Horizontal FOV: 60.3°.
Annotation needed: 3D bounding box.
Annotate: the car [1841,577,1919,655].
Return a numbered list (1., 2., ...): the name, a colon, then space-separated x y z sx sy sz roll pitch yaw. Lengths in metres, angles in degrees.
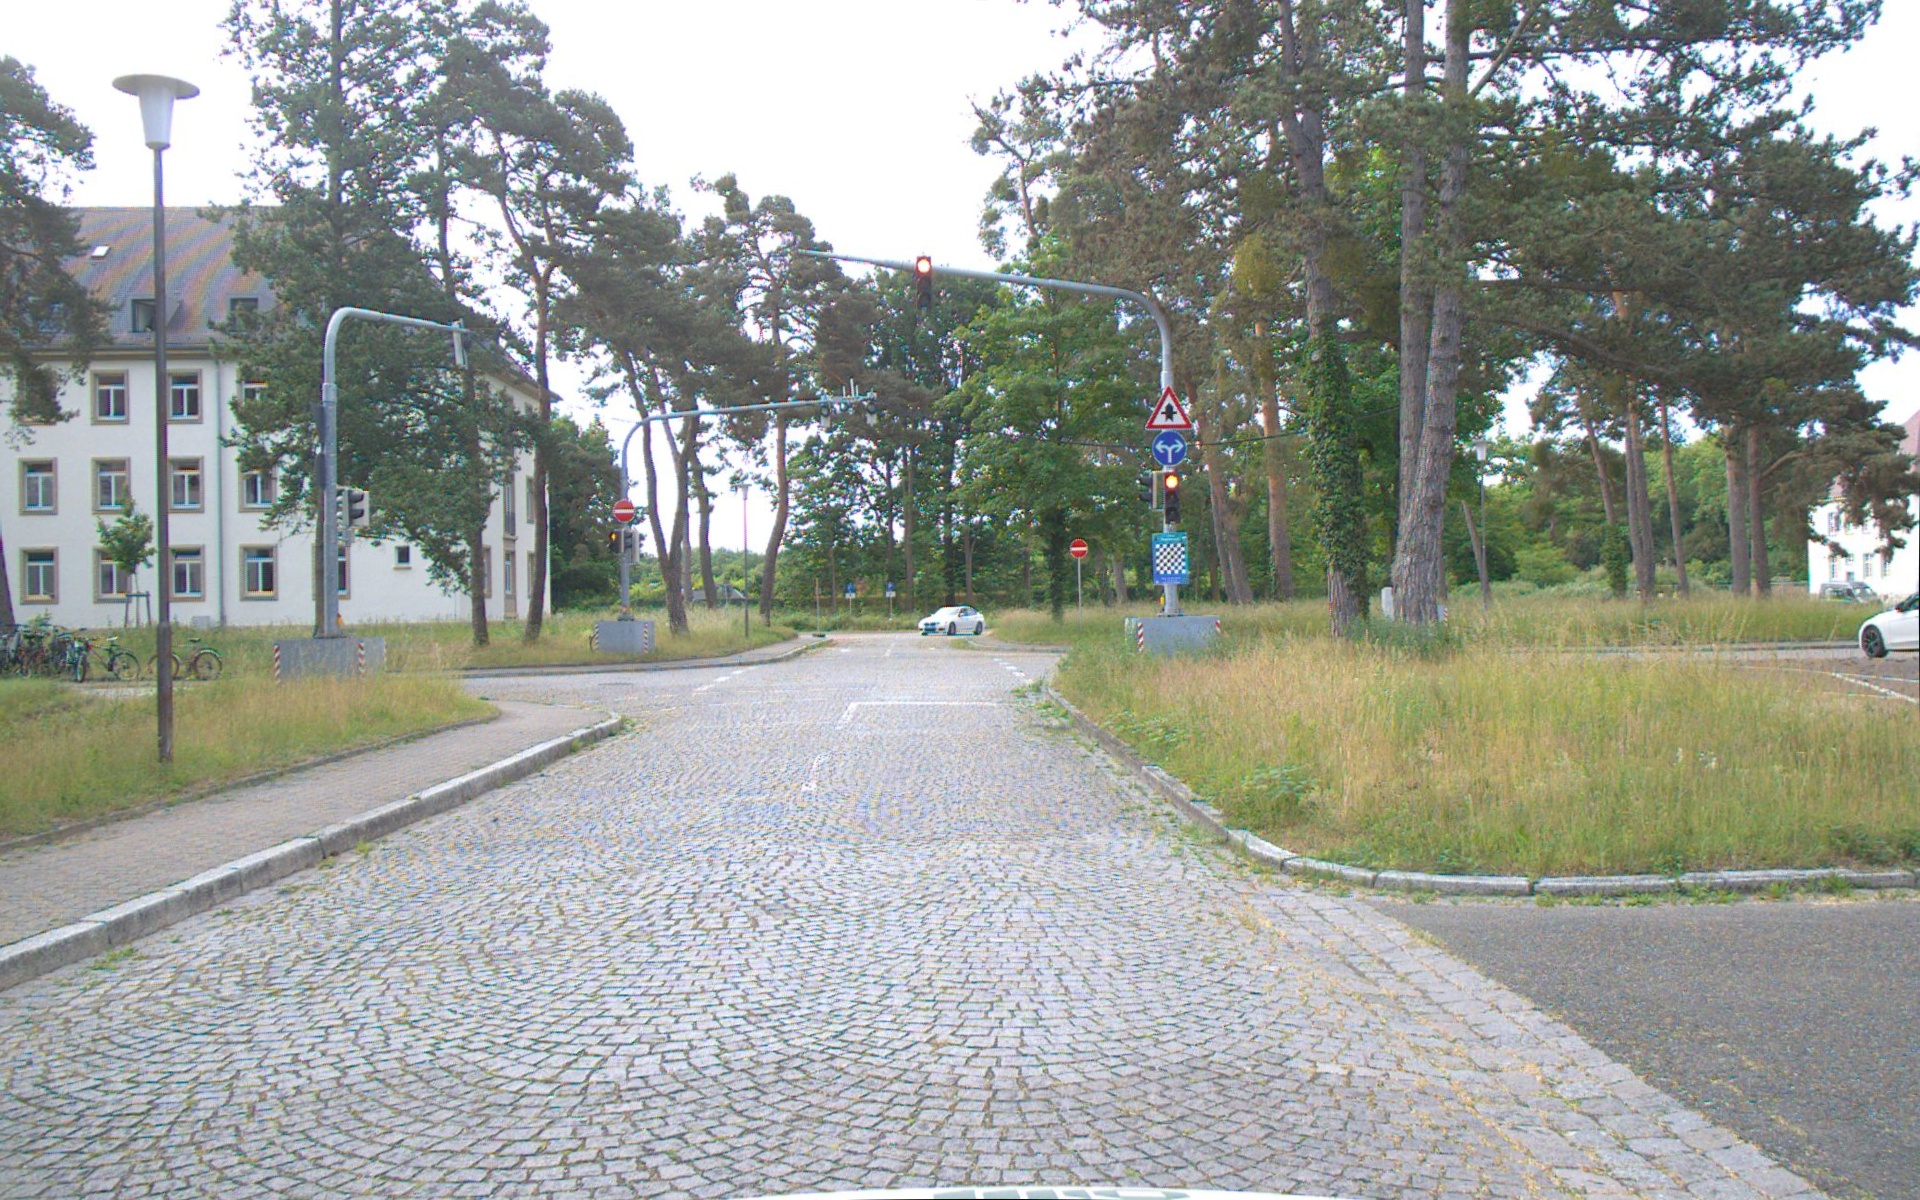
1. car: 19.925 0.313 33.129 1.812 1.513 4.604 0 -3 -4

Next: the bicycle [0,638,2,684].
1. bicycle: -23.263 1.470 38.939 0.504 1.098 1.585 -2 0 -1

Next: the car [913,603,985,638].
1. car: -0.544 1.020 84.169 1.740 1.463 4.211 -4 0 29

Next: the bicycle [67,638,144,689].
1. bicycle: -19.497 1.444 37.744 1.435 1.098 0.516 -2 -1 -4

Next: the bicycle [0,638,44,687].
1. bicycle: -22.291 1.466 39.021 0.504 1.098 1.585 -2 0 -1

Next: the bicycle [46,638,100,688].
1. bicycle: -20.934 1.476 39.071 0.504 1.098 1.584 -2 0 -4

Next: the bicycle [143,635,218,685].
1. bicycle: -17.896 1.381 37.976 1.435 1.084 0.516 -2 -1 -4

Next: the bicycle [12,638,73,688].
1. bicycle: -21.596 1.471 38.956 0.504 1.098 1.585 -2 0 1

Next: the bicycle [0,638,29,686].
1. bicycle: -22.646 1.464 39.011 0.504 1.098 1.585 -2 0 -1
